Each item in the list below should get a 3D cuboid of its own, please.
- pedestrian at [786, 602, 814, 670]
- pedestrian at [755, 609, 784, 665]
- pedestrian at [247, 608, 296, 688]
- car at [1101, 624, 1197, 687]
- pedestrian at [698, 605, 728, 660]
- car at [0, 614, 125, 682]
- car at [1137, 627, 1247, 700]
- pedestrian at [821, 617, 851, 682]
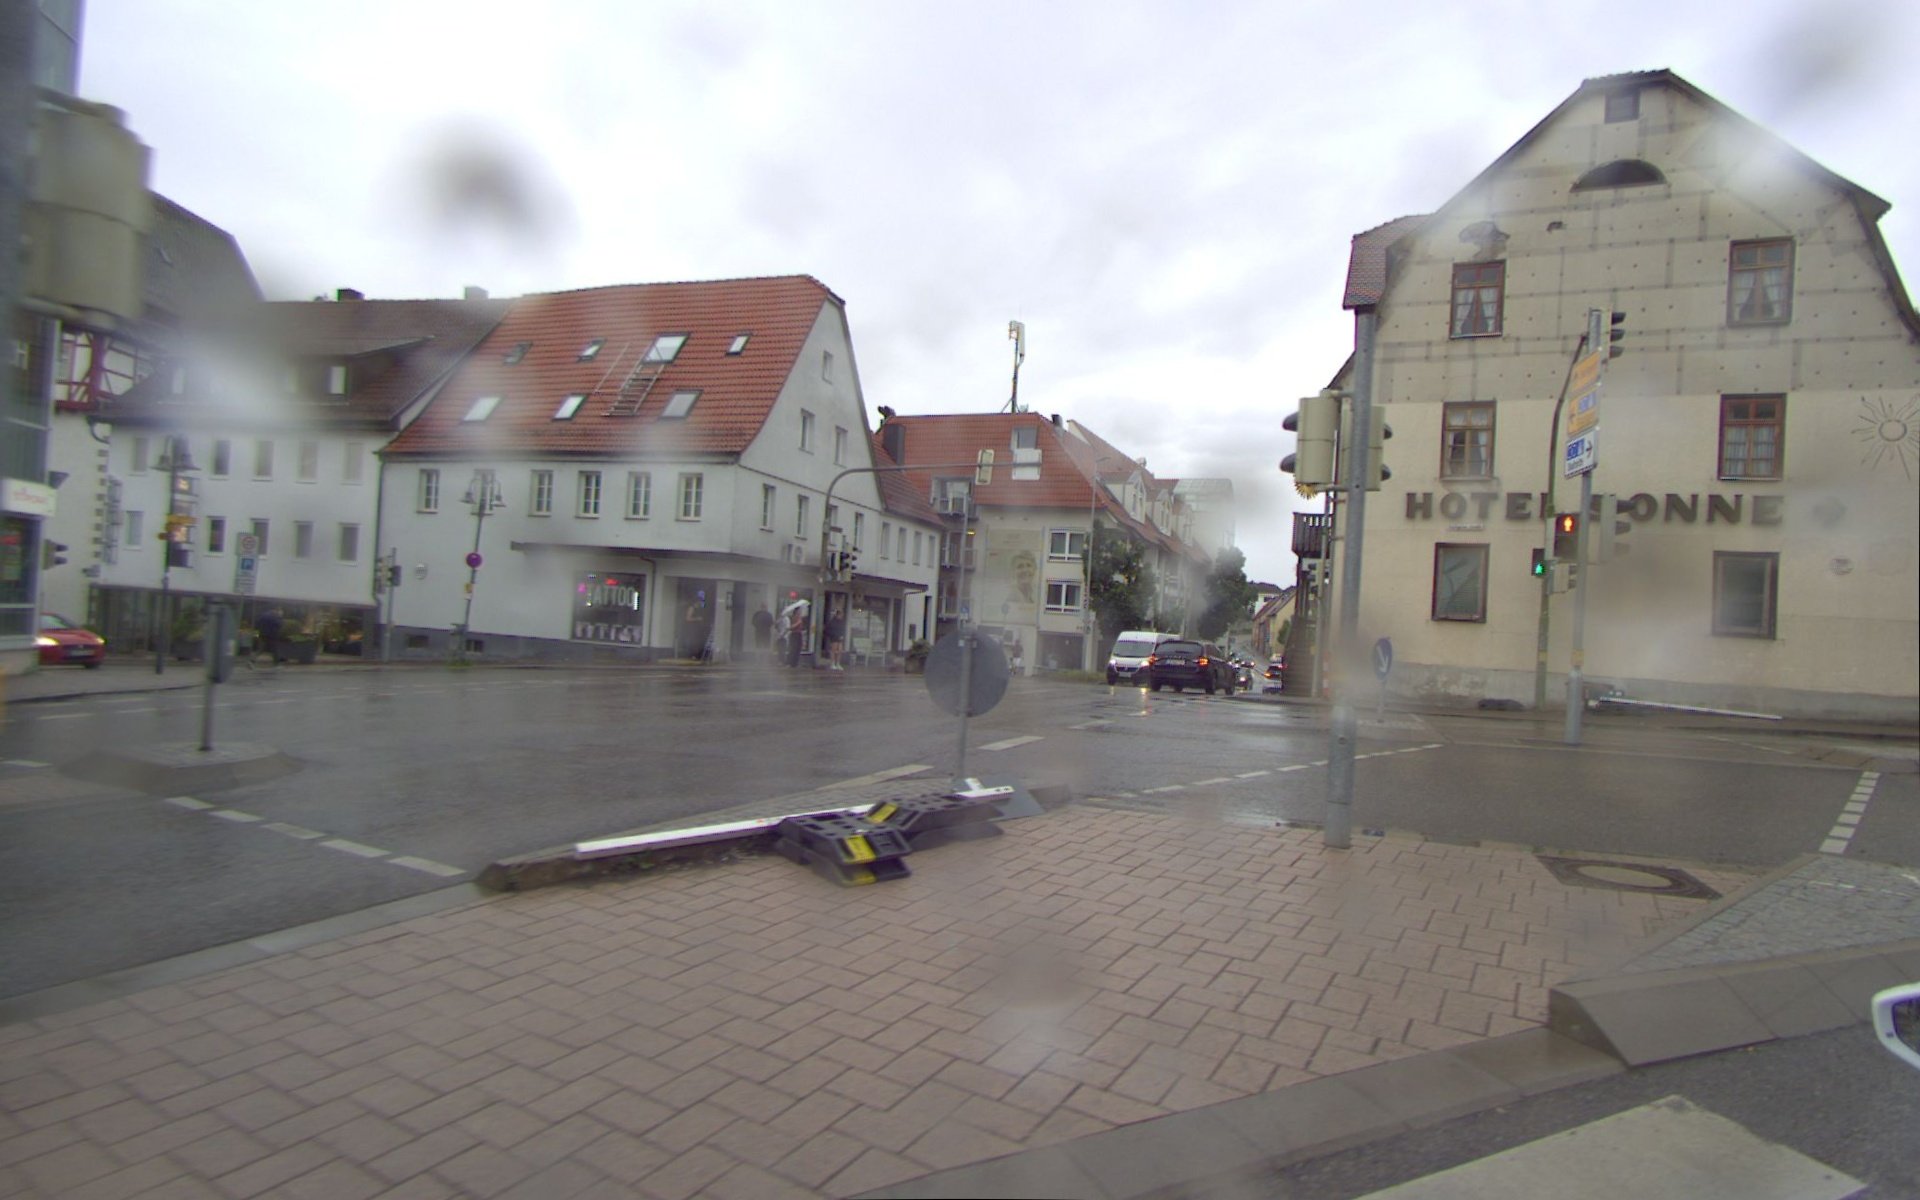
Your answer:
[{"bbox_3d":[-4.489,0.999,28.199,0.526,1.896,0.634,1,0,20],"label":"pedestrian"},{"bbox_3d":[-5.512,1.070,29.081,0.582,1.580,0.634,1,0,20],"label":"pedestrian"},{"bbox_3d":[-17.321,1.181,25.282,0.974,1.964,0.777,1,0,-35],"label":"pedestrian"},{"bbox_3d":[8.763,2.437,45.894,2.548,2.661,6.549,0,-2,27],"label":"car"},{"bbox_3d":[-7.280,0.944,29.603,0.582,1.580,0.634,1,0,20],"label":"pedestrian"},{"bbox_3d":[-23.162,1.156,25.178,3.610,1.527,1.745,1,0,18],"label":"car"},{"bbox_3d":[6.706,1.734,28.644,1.915,1.588,4.409,3,3,28],"label":"car"},{"bbox_3d":[-3.686,1.471,29.892,0.593,1.892,0.748,1,0,20],"label":"pedestrian"}]
